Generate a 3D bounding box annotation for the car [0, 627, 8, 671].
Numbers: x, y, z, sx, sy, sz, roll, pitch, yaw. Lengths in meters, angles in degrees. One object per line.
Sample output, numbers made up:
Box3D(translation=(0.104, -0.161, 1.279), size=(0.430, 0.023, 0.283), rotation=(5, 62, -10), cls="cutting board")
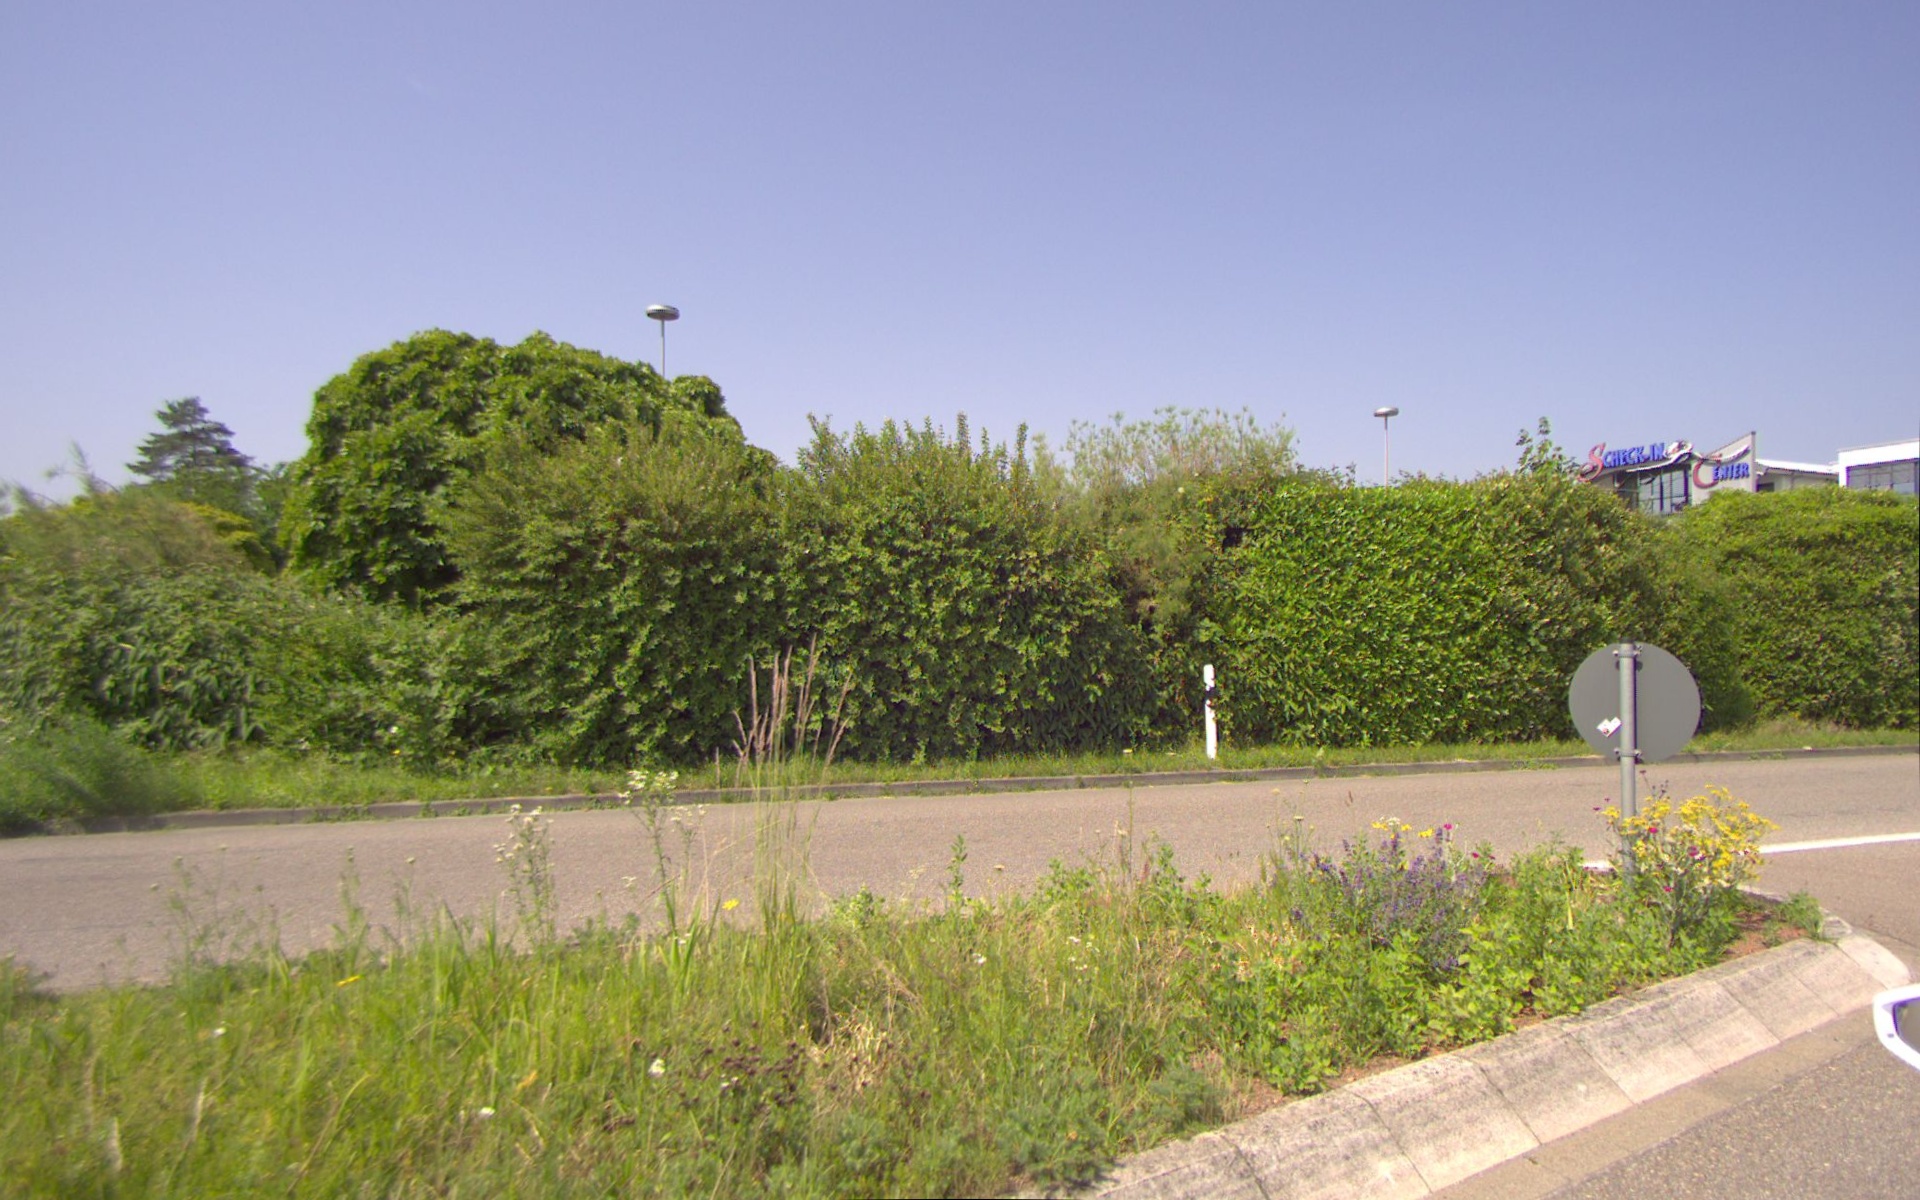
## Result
Box3D(translation=(-35.149, 1.670, 33.620), size=(1.554, 1.517, 4.568), rotation=(2, -1, 15), cls="car")
